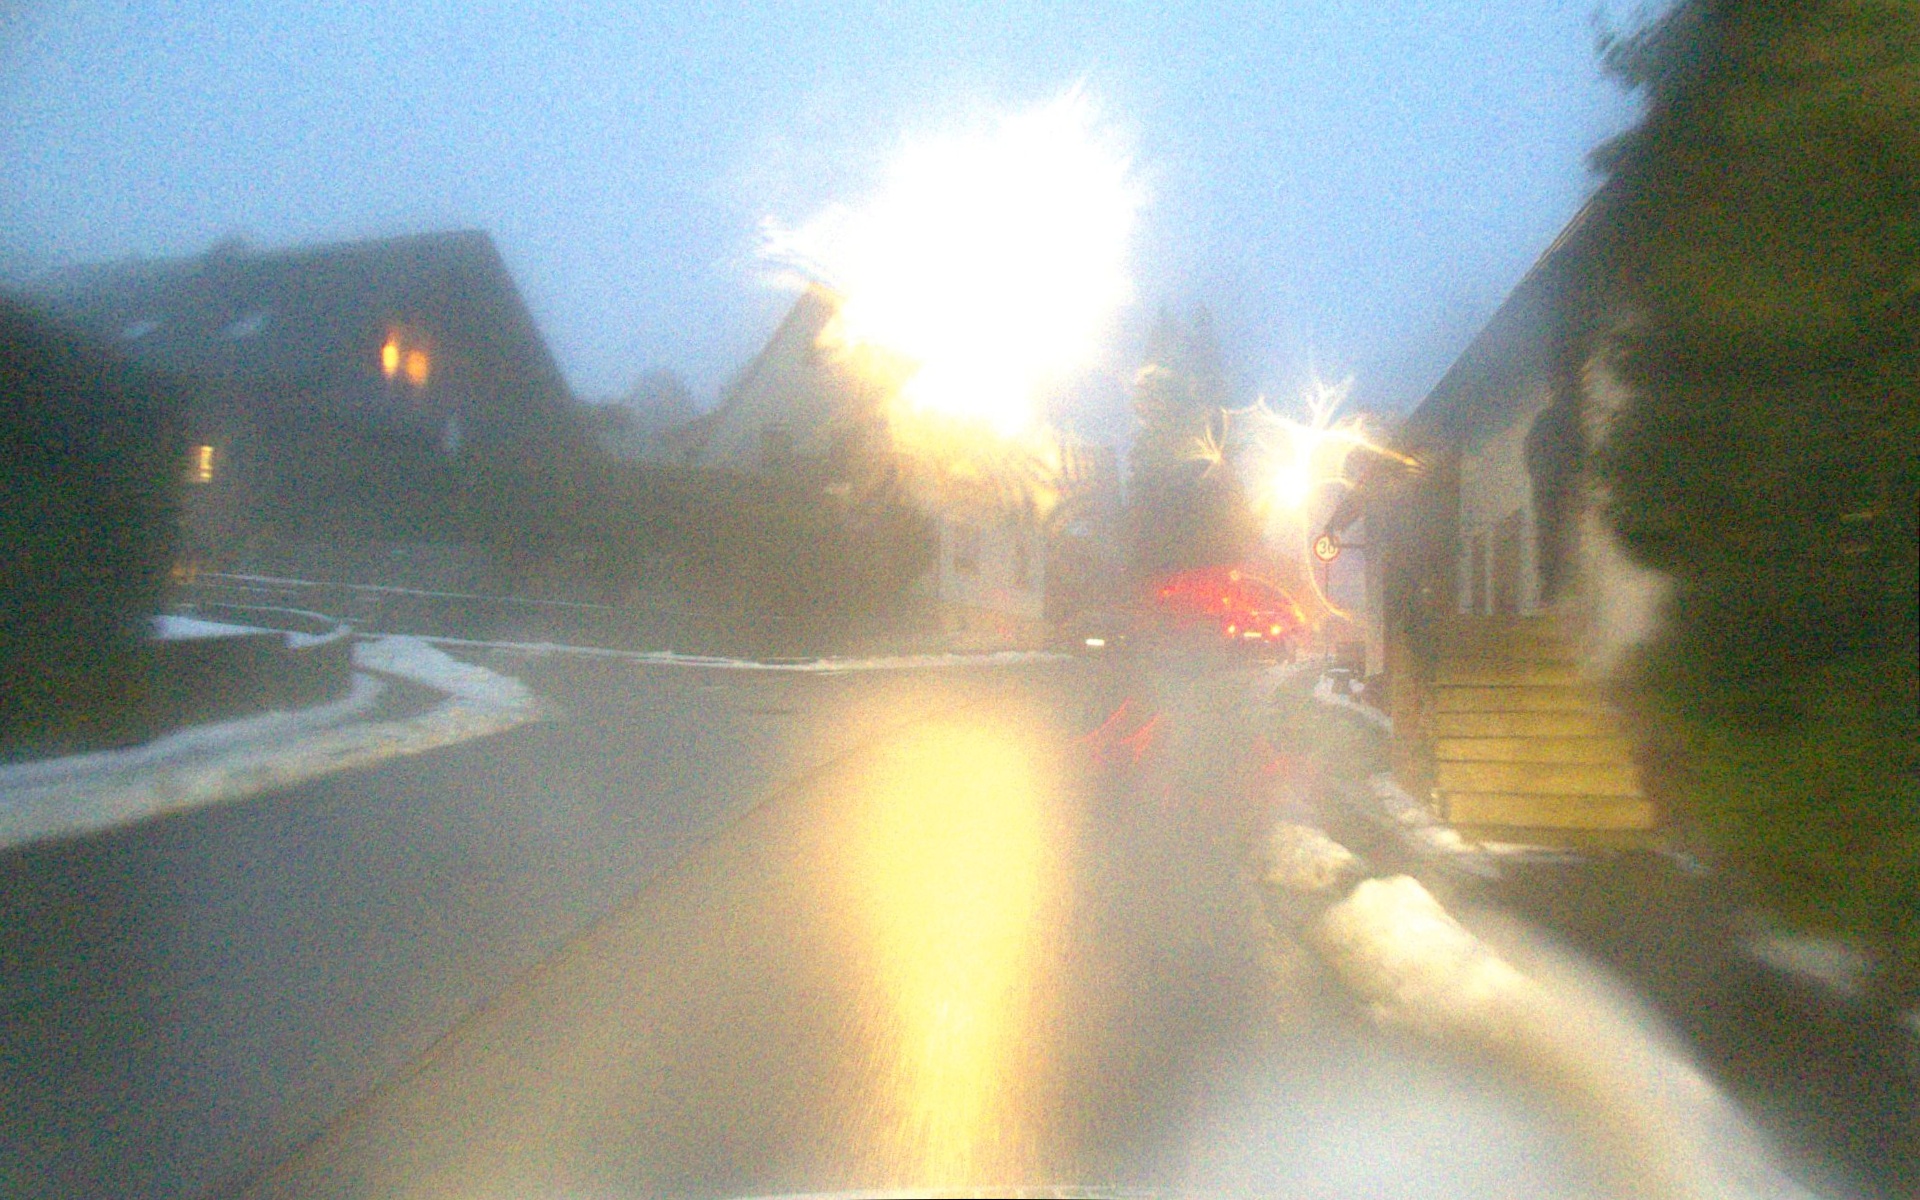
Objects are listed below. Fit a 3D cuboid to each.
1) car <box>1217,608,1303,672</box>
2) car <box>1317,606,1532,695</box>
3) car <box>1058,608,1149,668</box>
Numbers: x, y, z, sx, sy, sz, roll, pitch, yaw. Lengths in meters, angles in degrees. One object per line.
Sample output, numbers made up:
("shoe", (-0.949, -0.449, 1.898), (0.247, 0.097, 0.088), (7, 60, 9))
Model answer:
("car", (8.976, 1.239, 49.259), (1.952, 1.767, 3.879), (-2, -3, 18))
("car", (7.944, 0.890, 28.566), (3.365, 1.411, 1.640), (-2, -3, 9))
("car", (4.415, 1.189, 50.275), (1.951, 1.680, 4.001), (-2, -3, 17))
